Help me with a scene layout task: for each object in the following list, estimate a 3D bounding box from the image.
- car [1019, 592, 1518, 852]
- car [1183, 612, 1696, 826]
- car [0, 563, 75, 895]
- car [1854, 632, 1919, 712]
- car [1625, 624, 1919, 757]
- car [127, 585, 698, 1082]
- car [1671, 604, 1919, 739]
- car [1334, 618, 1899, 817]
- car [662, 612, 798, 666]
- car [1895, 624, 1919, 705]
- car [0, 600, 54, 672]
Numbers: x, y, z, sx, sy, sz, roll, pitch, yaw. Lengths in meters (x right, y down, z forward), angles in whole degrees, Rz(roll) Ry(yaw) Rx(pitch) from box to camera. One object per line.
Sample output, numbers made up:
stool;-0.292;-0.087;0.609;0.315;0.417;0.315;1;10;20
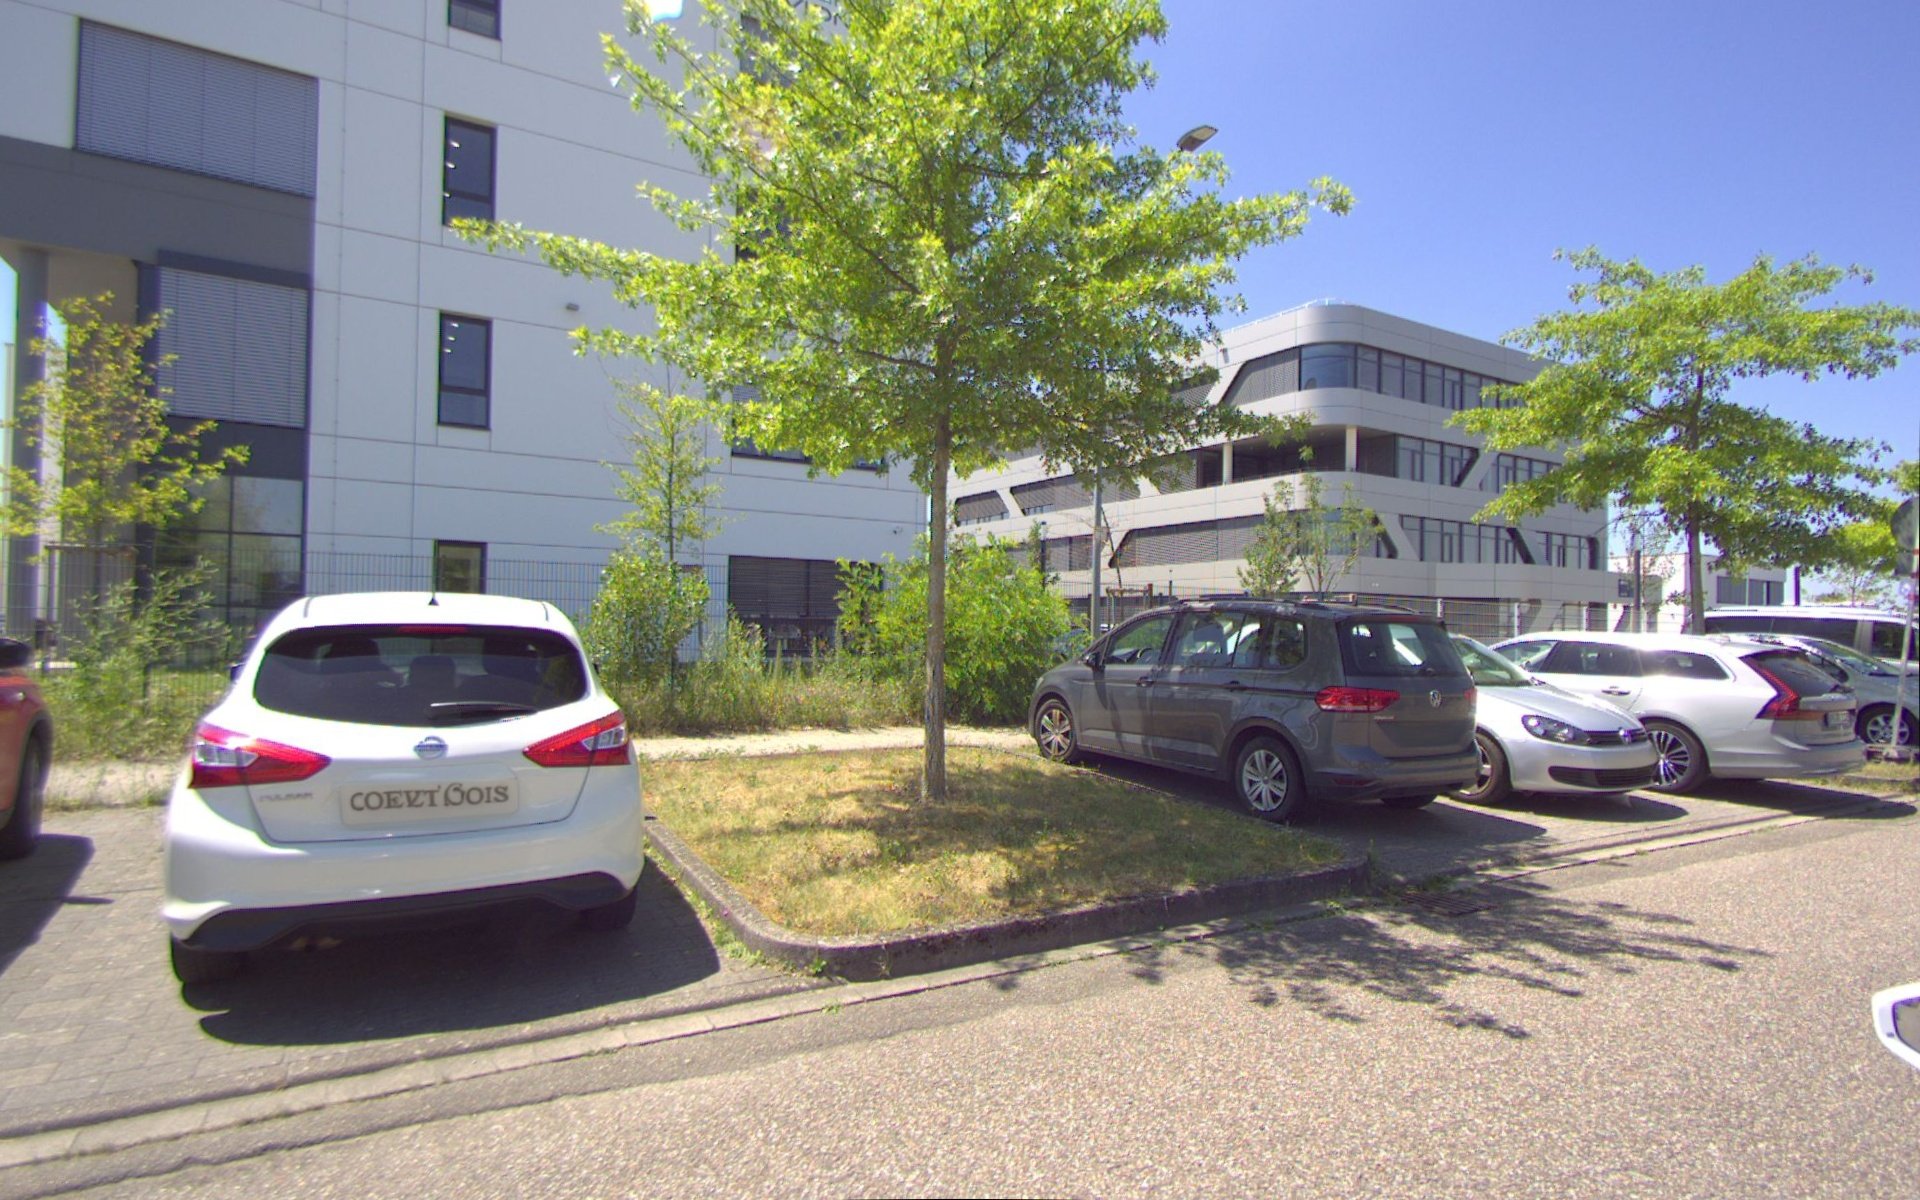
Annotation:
car;2.376;0.810;8.818;1.707;1.656;4.097;1;0;-30
car;4.352;0.937;9.856;1.708;1.493;4.288;1;0;-31
car;-5.115;0.619;4.006;1.708;1.613;3.818;1;0;-32
car;19.683;1.467;18.869;1.587;1.480;4.014;2;0;-32
car;12.075;1.194;14.314;1.742;1.504;3.951;2;1;-29
car;-2.804;0.719;5.432;1.784;1.533;4.155;1;1;-28
car;14.555;1.090;15.888;1.972;1.917;5.049;2;0;-28
car;6.574;1.020;10.697;1.837;1.466;4.686;1;0;-32
car;-7.434;1.259;32.520;3.955;1.623;1.767;2;-2;-31
car;21.935;1.443;20.418;1.759;1.701;3.961;2;0;-34
car;-23.232;0.777;22.568;3.955;1.623;1.767;2;-2;-31
